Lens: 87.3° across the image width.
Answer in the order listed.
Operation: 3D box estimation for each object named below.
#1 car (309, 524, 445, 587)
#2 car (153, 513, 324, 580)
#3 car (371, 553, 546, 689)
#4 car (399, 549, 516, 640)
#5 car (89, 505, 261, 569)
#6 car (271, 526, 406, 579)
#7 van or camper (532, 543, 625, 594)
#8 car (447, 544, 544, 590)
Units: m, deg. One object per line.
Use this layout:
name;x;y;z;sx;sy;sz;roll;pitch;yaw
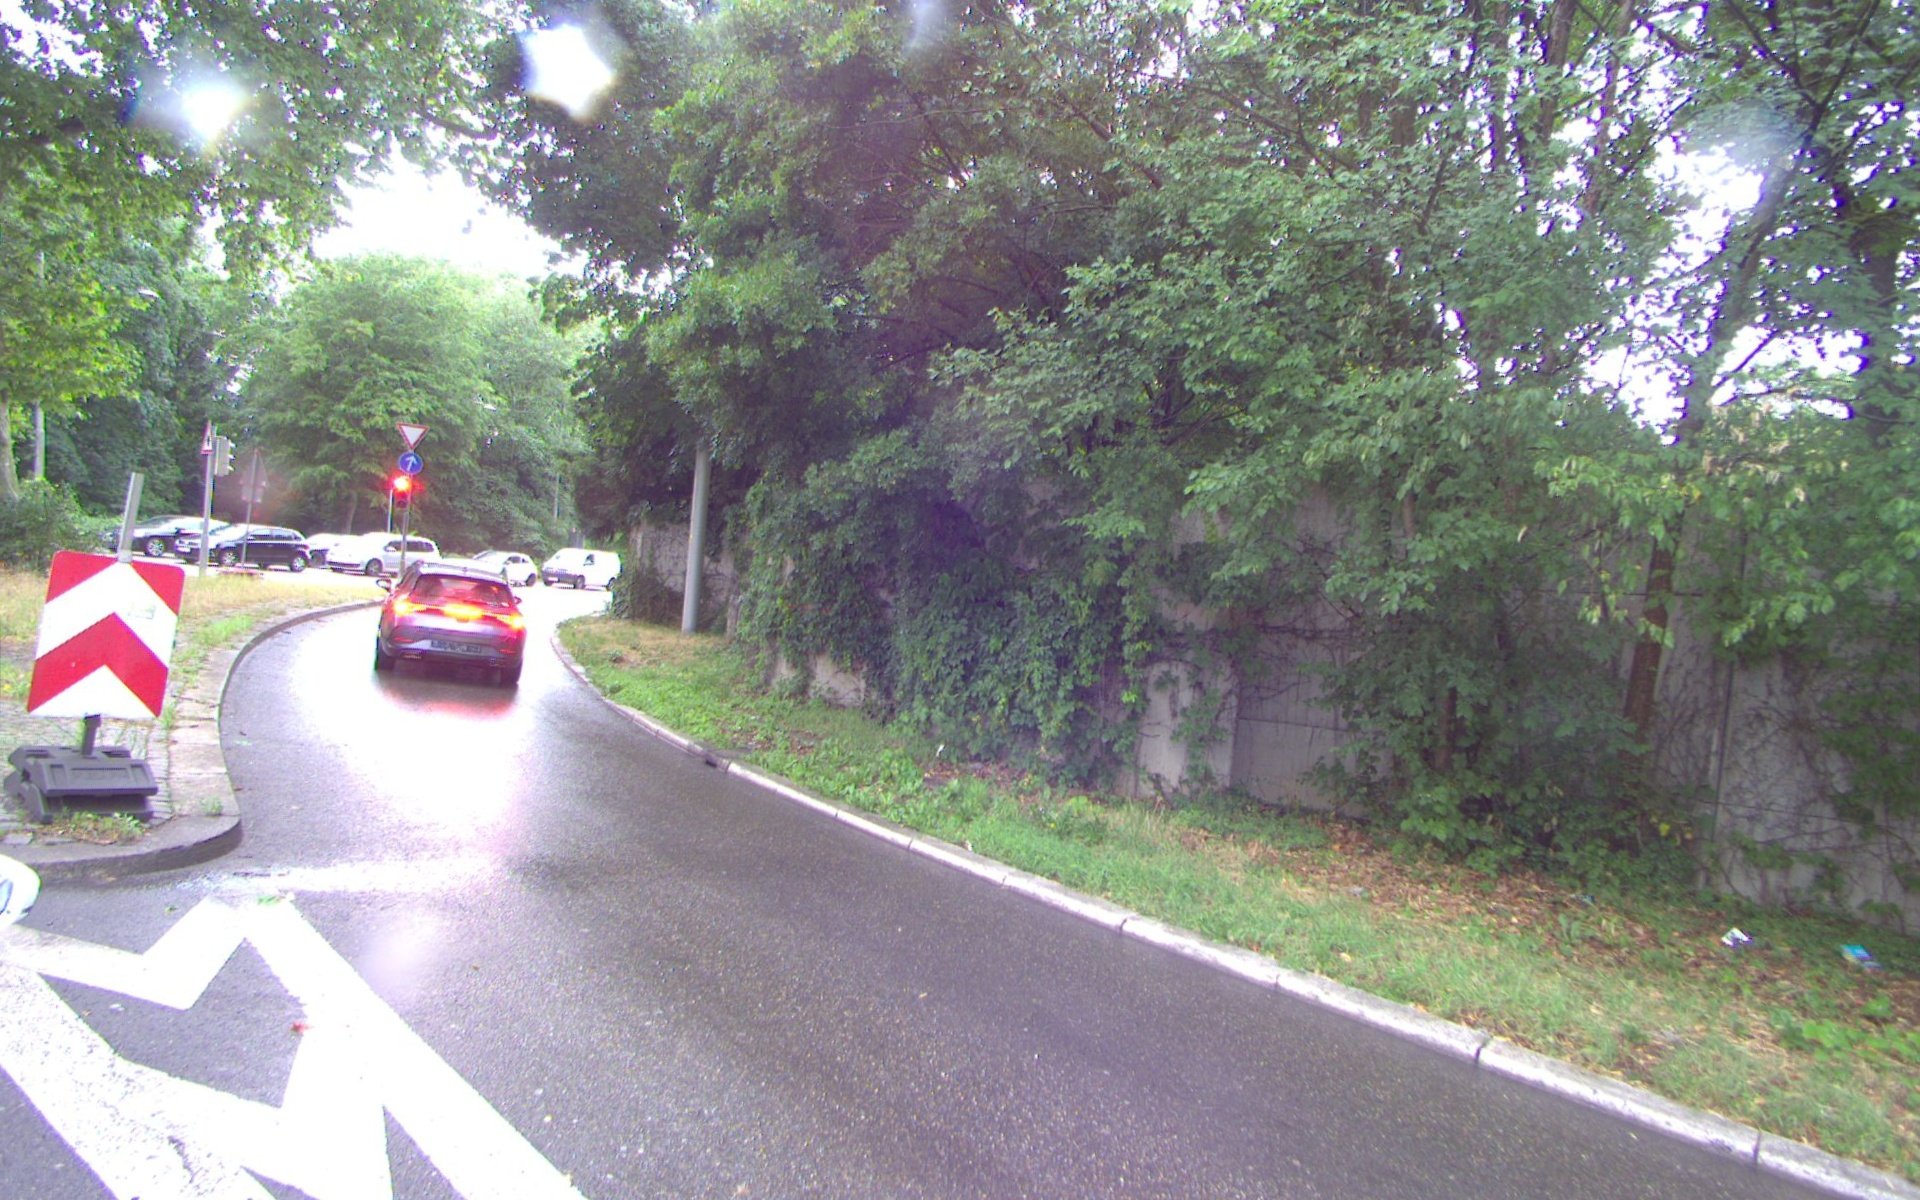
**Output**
car;-22.091;-1.645;38.313;1.871;1.699;4.216;7;-2;16
car;-23.321;-1.673;32.734;1.759;1.477;4.205;7;-2;16
car;-7.175;0.193;14.153;1.737;1.418;4.379;10;-3;-31
car;-10.746;-0.161;21.800;1.837;1.464;4.593;11;-3;-24
car;-26.659;-2.101;34.351;1.913;1.457;4.218;7;-2;16
car;-24.789;-1.864;40.333;1.795;1.418;4.452;7;-2;16
van or camper;-19.125;-1.547;50.708;1.870;1.970;4.870;7;-1;12
car;-20.548;-1.413;44.692;1.627;1.478;3.869;7;-2;16
